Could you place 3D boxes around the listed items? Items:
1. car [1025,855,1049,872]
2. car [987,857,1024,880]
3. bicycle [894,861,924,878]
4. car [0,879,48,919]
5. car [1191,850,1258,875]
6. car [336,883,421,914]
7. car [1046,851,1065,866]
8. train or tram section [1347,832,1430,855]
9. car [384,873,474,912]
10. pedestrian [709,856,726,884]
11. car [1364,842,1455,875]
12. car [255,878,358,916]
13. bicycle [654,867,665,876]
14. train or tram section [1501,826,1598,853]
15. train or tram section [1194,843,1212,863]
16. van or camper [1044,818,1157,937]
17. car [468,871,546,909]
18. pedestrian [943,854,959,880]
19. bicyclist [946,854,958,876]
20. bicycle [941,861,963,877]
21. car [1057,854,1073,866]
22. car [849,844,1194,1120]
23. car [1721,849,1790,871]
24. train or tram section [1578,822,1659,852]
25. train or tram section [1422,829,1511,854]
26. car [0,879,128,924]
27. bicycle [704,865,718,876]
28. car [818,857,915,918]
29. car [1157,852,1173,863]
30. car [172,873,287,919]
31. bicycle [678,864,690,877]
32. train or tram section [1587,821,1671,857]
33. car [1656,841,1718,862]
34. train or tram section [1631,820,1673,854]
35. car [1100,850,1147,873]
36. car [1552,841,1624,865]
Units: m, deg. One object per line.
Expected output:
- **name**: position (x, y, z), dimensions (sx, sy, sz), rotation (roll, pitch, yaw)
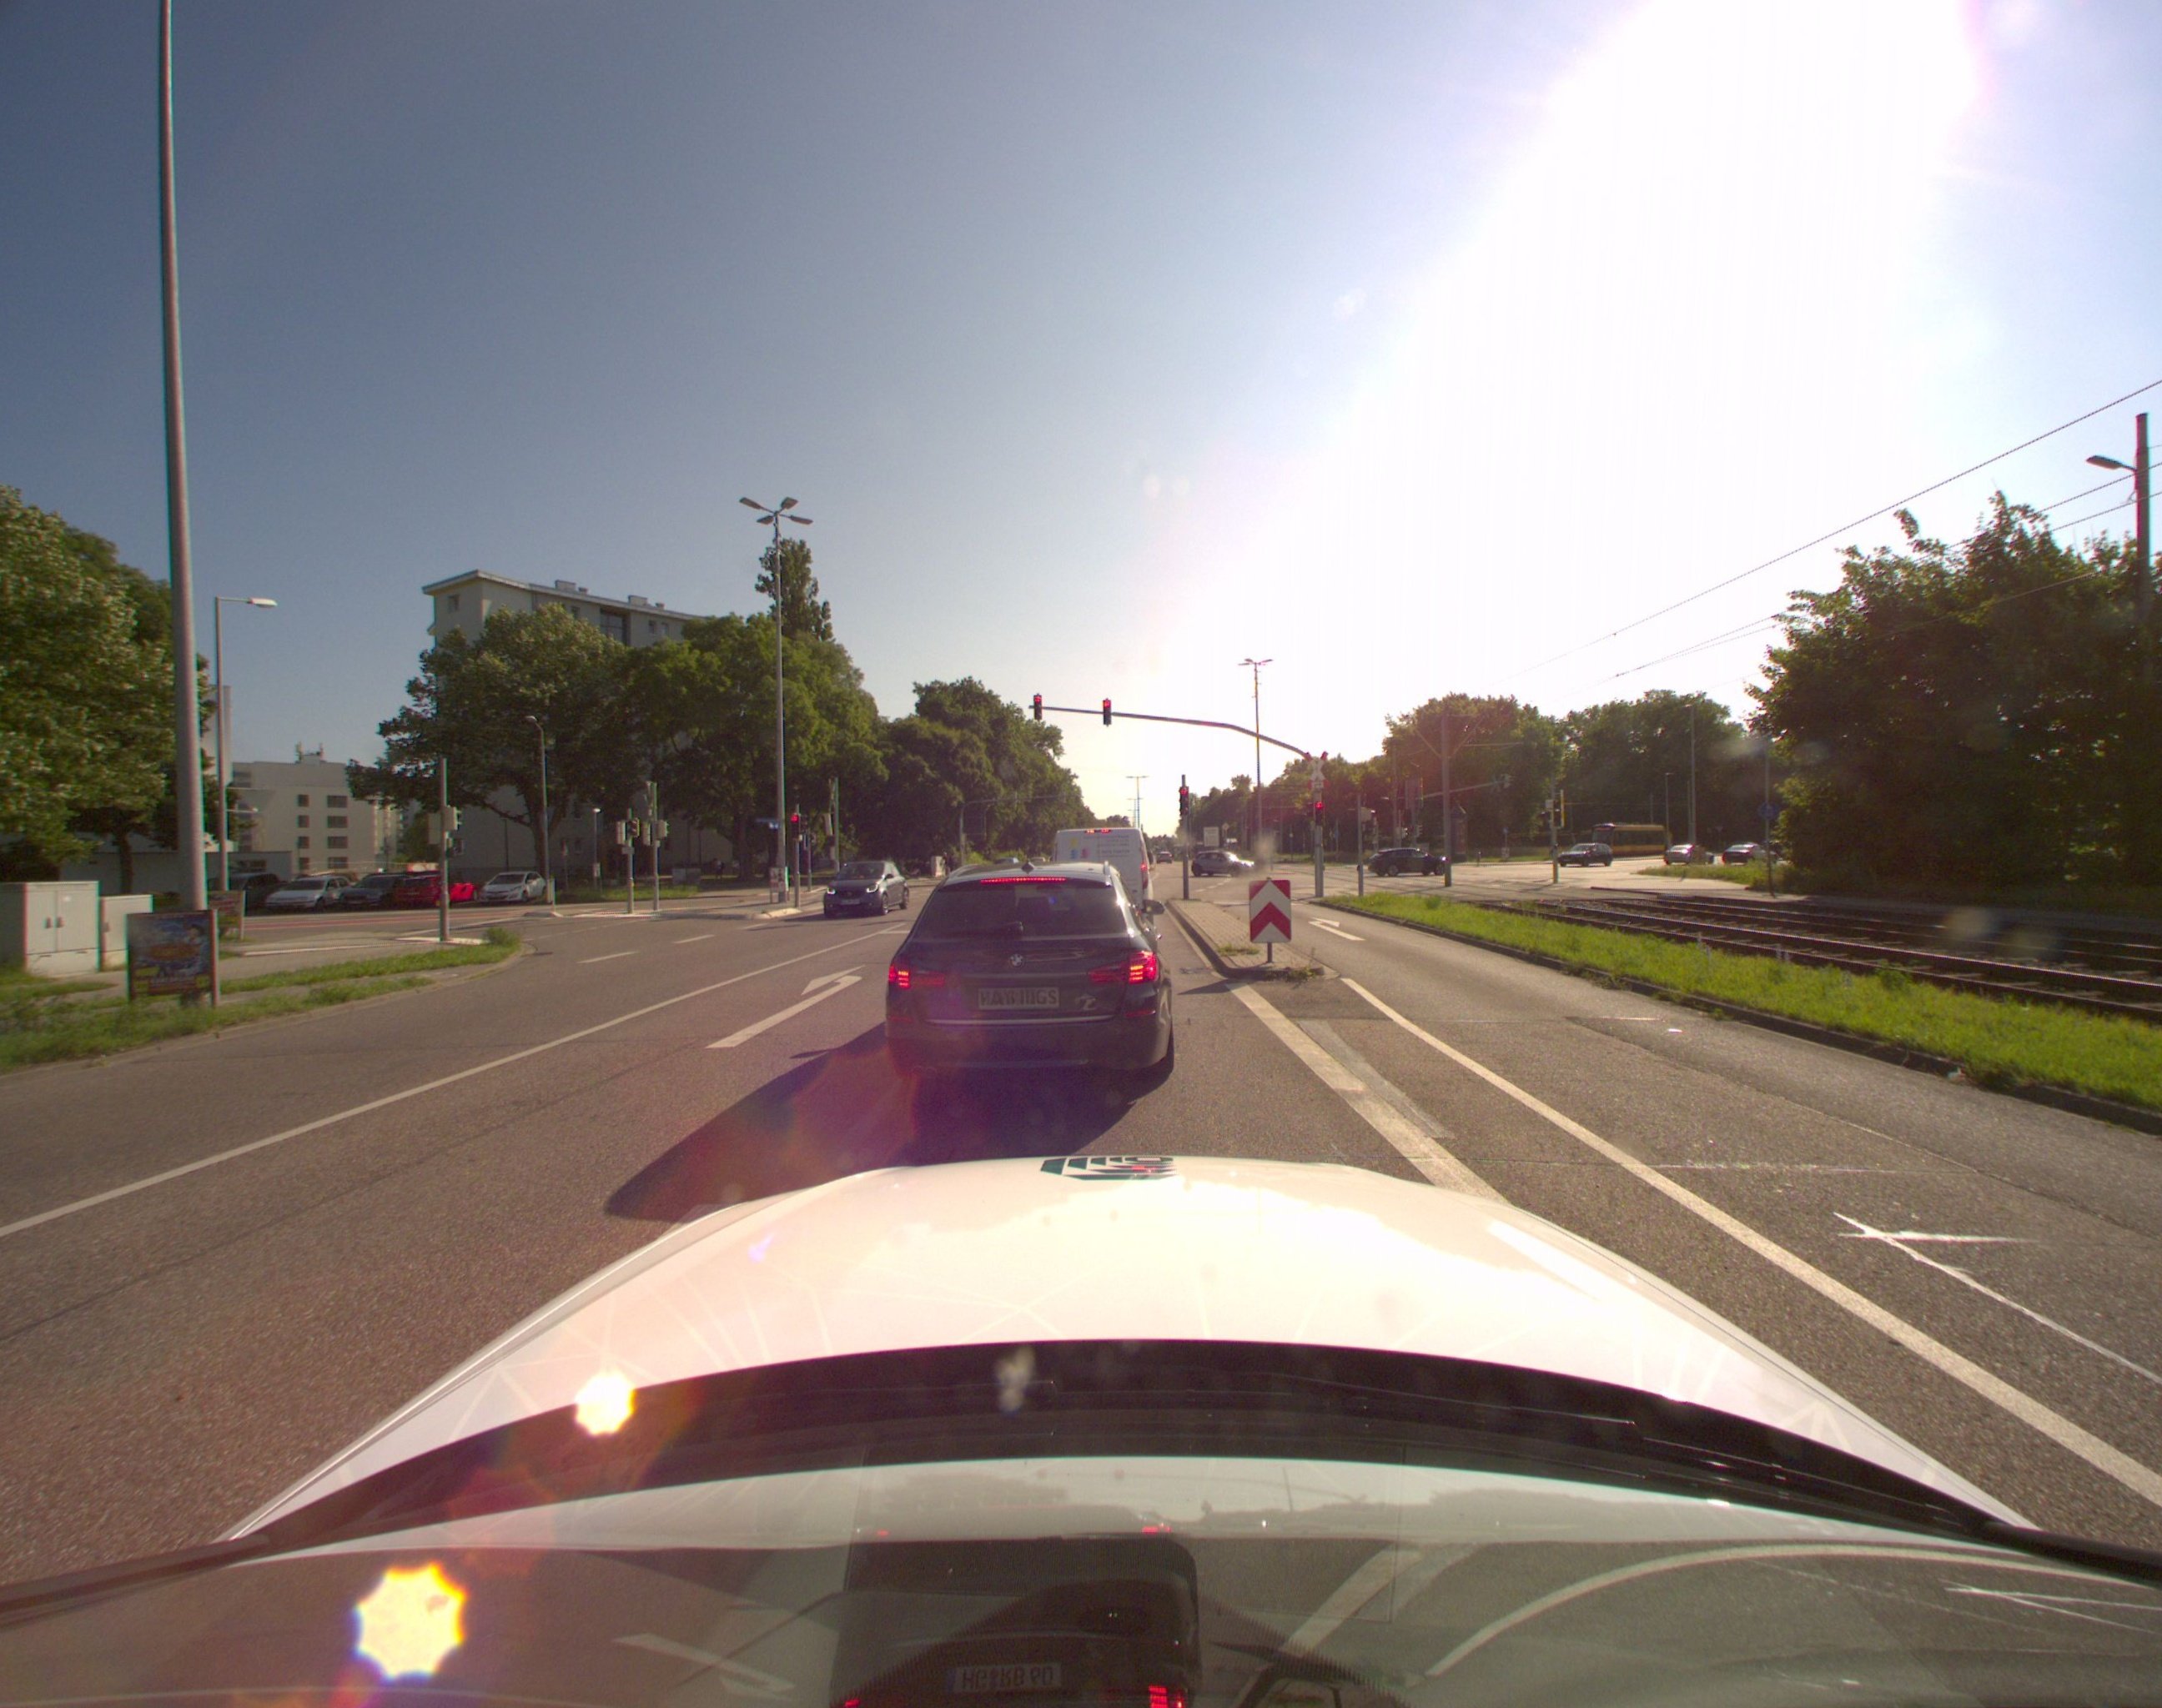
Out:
- **car**: position (-4.128, 0.907, 76.737), dimensions (1.695, 1.465, 4.372), rotation (-3, 0, 3)
- **car**: position (-5.048, 0.929, 54.681), dimensions (1.771, 1.414, 4.249), rotation (-1, 0, 4)
- **bicycle**: position (-11.632, 1.046, 55.098), dimensions (1.902, 1.119, 0.632), rotation (-1, 0, 1)
- **car**: position (-46.079, 2.013, 33.686), dimensions (1.785, 1.476, 4.686), rotation (-1, 3, -19)
- **car**: position (8.342, 0.506, 47.505), dimensions (3.484, 1.383, 1.617), rotation (-1, 0, 37)
- **car**: position (-32.773, 2.048, 38.105), dimensions (1.463, 1.193, 3.767), rotation (-1, 0, -15)
- **car**: position (-2.879, 0.514, 91.220), dimensions (1.738, 1.562, 4.003), rotation (-3, 0, 3)
- **train or tram section**: position (50.404, -1.673, 133.851), dimensions (12.279, 3.579, 3.073), rotation (-1, 0, 33)
- **car**: position (-30.906, 1.782, 38.769), dimensions (1.782, 1.415, 3.982), rotation (-1, 4, -14)
- **pedestrian**: position (-22.685, 1.021, 50.877), dimensions (0.619, 1.713, 0.707), rotation (-1, 0, 14)
- **car**: position (18.973, 0.261, 47.159), dimensions (4.597, 1.722, 1.647), rotation (-2, -1, -4)
- **car**: position (-35.414, 1.928, 37.372), dimensions (1.783, 1.521, 3.977), rotation (-1, 0, -16)
- **bicycle**: position (-34.305, 1.427, 66.254), dimensions (0.587, 0.708, 2.215), rotation (-1, 0, -33)
- **train or tram section**: position (67.347, -1.982, 117.567), dimensions (3.064, 3.579, 12.108), rotation (-1, 0, -31)
- **train or tram section**: position (23.200, -0.150, 155.596), dimensions (2.782, 3.618, 12.976), rotation (0, 0, 6)
- **van or camper**: position (0.485, 0.413, 16.942), dimensions (1.985, 2.096, 4.602), rotation (-1, 0, 3)
- **car**: position (-27.869, 1.719, 39.680), dimensions (1.783, 1.439, 3.980), rotation (-1, 3, -15)
- **pedestrian**: position (-8.793, 0.857, 54.937), dimensions (0.811, 1.752, 0.933), rotation (-1, 0, 7)
- **bicyclist**: position (-9.090, 0.760, 57.479), dimensions (0.602, 1.560, 0.606), rotation (-1, 0, 19)
- **bicycle**: position (-9.091, 1.054, 57.459), dimensions (0.614, 1.040, 2.082), rotation (-1, 0, 19)
- **car**: position (-1.975, 0.731, 103.627), dimensions (1.882, 1.474, 4.099), rotation (-2, 0, 0)
- **car**: position (-0.263, 0.714, 6.580), dimensions (1.896, 1.506, 4.067), rotation (-1, 0, 2)
- **car**: position (46.270, 0.411, 55.870), dimensions (4.415, 1.354, 1.984), rotation (-1, 0, -25)
- **train or tram section**: position (69.669, -2.068, 106.059), dimensions (3.031, 3.579, 12.241), rotation (-1, 0, 3)
- **train or tram section**: position (60.013, -1.845, 126.956), dimensions (12.072, 3.579, 3.073), rotation (-1, 0, 38)
- **car**: position (-44.365, 2.007, 35.239), dimensions (1.785, 1.477, 4.785), rotation (-1, 3, -19)
- **bicycle**: position (-31.024, 1.359, 68.248), dimensions (0.673, 0.919, 2.382), rotation (-1, 0, -33)
- **car**: position (-6.147, 0.910, 23.790), dimensions (1.626, 1.560, 3.679), rotation (-3, 0, 3)
- **car**: position (11.582, 0.493, 112.511), dimensions (1.788, 1.486, 3.897), rotation (1, 0, -2)
- **car**: position (-38.059, 1.823, 36.538), dimensions (1.783, 1.811, 3.977), rotation (-1, 0, -16)
- **bicycle**: position (-32.678, 1.369, 66.944), dimensions (0.615, 1.066, 1.896), rotation (0, -2, -34)
- **train or tram section**: position (57.913, -1.568, 85.880), dimensions (11.898, 3.579, 3.022), rotation (-1, 0, -34)
- **car**: position (43.614, -0.187, 58.605), dimensions (4.423, 1.354, 1.981), rotation (-1, 0, -31)
- **train or tram section**: position (66.111, -1.917, 94.581), dimensions (3.015, 3.579, 12.308), rotation (-1, 0, 31)
- **car**: position (2.945, 0.517, 57.601), dimensions (1.856, 1.562, 4.176), rotation (-1, 0, -20)
- **car**: position (35.958, -0.073, 57.758), dimensions (4.871, 1.562, 2.027), rotation (-1, 0, -26)
